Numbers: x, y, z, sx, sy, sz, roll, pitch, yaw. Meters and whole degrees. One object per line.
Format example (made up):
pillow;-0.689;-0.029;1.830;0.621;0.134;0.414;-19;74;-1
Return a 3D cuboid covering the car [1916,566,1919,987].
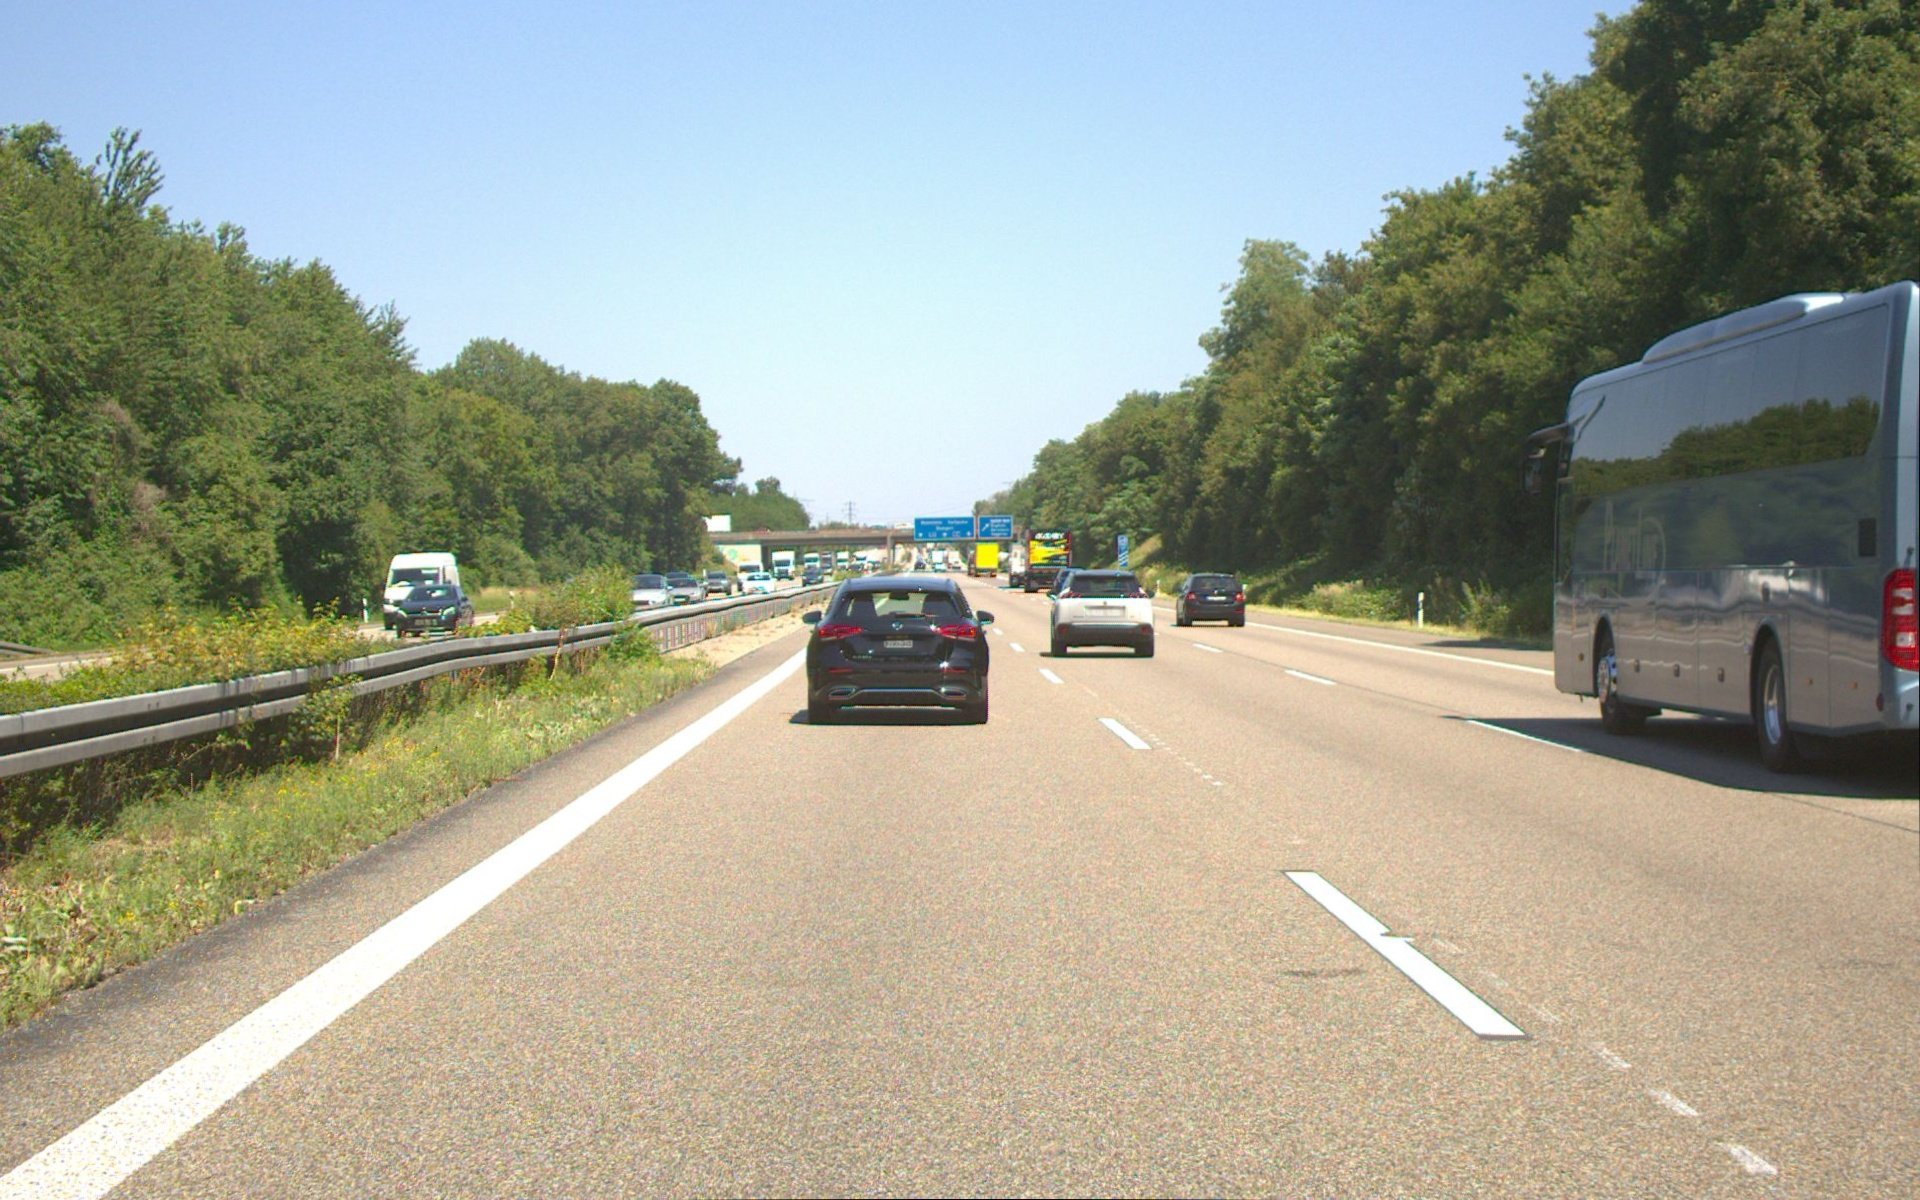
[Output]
car;4.458;0.666;10.006;1.899;1.527;4.760;0;1;-2

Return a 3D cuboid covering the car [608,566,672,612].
car;-10.812;-0.381;116.266;1.848;1.445;4.208;-2;1;-2

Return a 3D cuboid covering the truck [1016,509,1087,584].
truck;5.759;-3.375;219.933;3.647;4.574;15.768;1;0;-2

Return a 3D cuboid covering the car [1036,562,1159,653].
car;2.412;0.105;61.362;1.899;1.527;4.242;0;1;-2

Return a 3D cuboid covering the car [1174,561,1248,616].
car;6.888;-0.327;94.646;1.789;1.456;3.949;0;1;0

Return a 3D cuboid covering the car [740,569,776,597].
car;-11.255;-0.961;191.669;1.820;1.518;4.824;-1;1;-2

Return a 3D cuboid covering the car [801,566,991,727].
car;-0.663;0.423;34.728;1.799;1.497;4.242;0;1;-2

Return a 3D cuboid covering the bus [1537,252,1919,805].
bus;7.290;-0.527;28.534;2.802;3.584;12.475;0;1;0

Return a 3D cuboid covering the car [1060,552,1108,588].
car;6.178;-1.512;171.459;2.076;1.745;4.242;-1;1;-1

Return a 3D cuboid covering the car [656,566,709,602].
car;-11.329;-0.649;140.587;1.838;1.378;4.428;-2;1;-1

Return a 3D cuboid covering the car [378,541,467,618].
car;-18.484;-0.724;118.555;2.087;2.543;6.228;-2;1;-1

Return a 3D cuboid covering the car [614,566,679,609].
car;-10.750;-0.430;118.223;1.838;1.378;4.428;-2;1;-1

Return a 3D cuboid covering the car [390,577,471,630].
car;-14.905;0.083;96.981;1.668;1.398;4.707;-1;1;-2

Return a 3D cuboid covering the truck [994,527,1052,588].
truck;4.801;-3.260;266.473;3.647;4.574;17.249;1;0;-2
